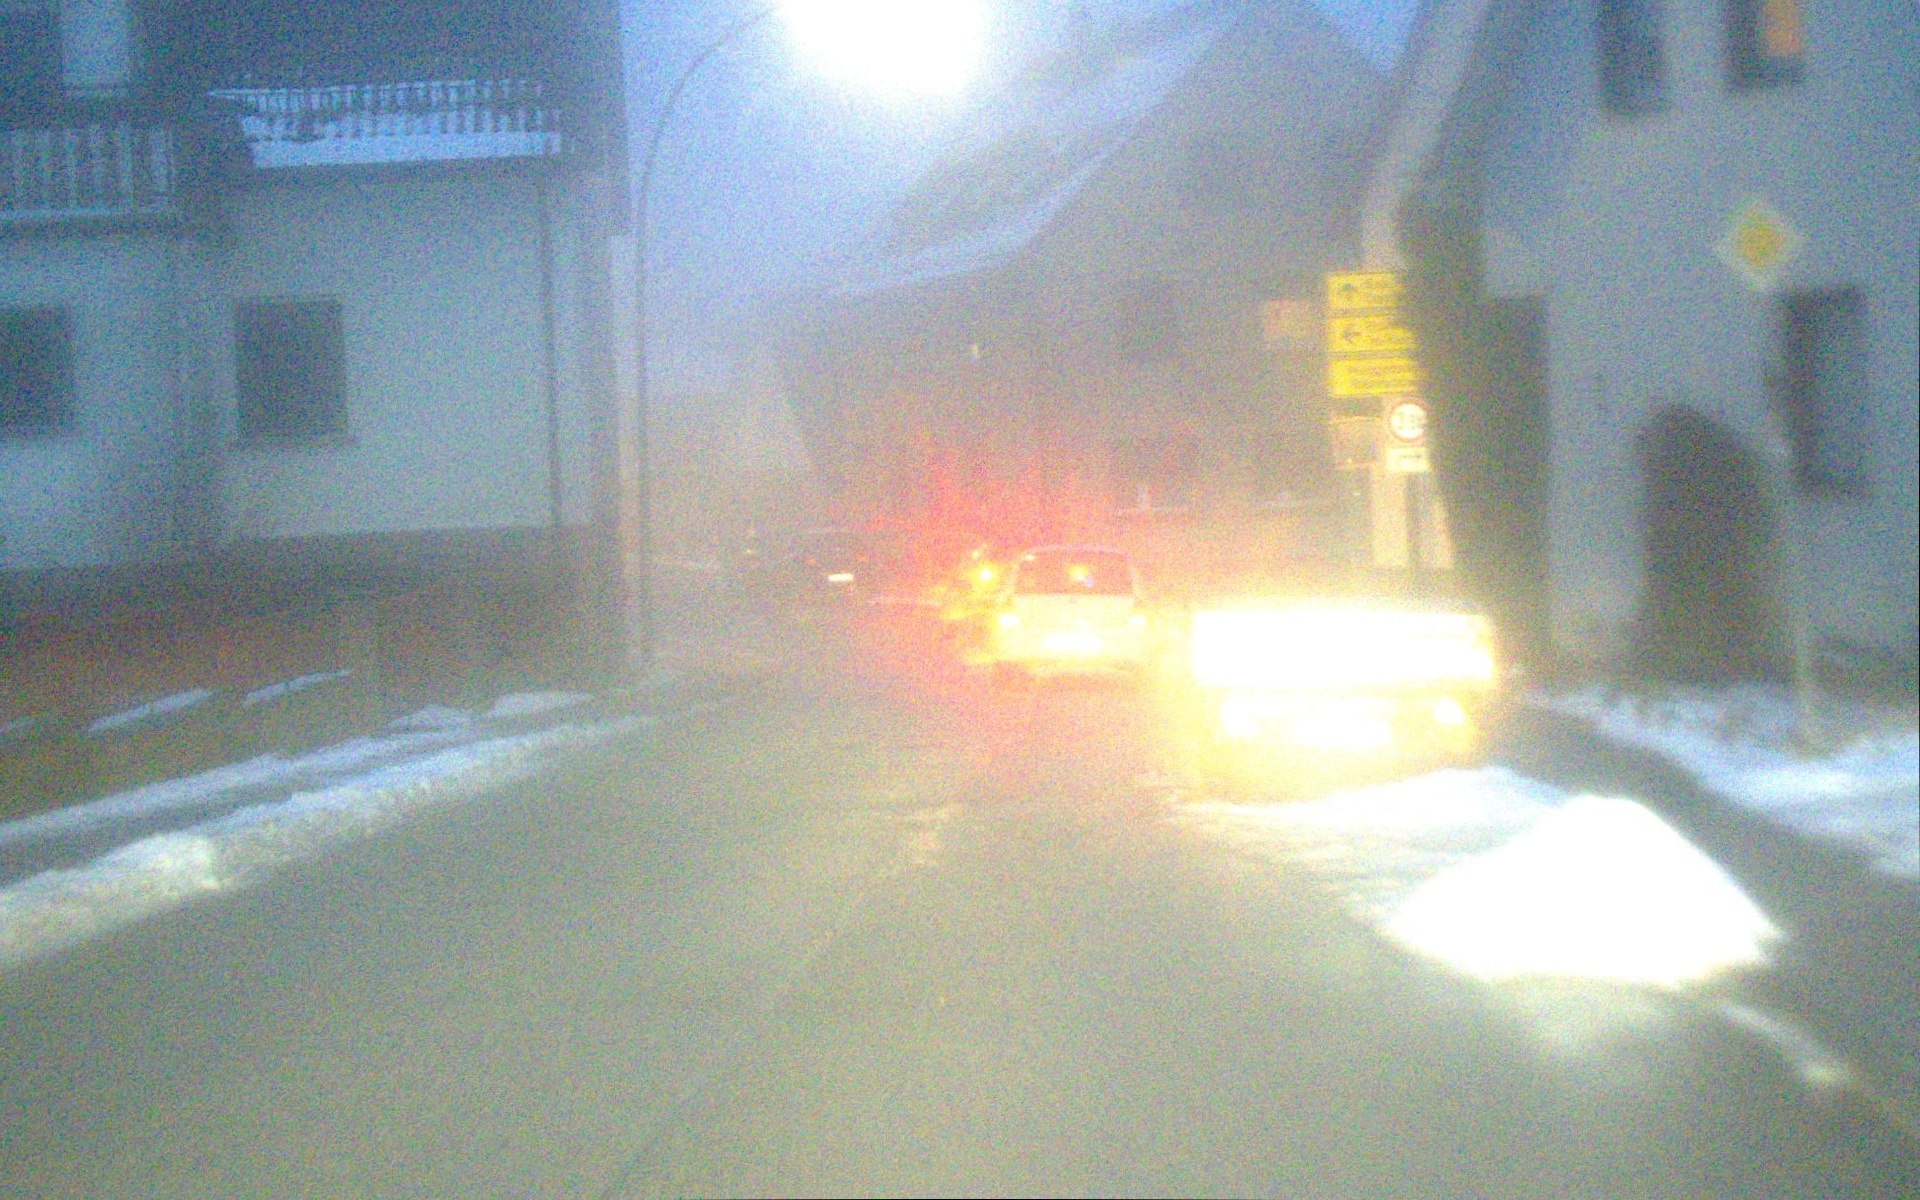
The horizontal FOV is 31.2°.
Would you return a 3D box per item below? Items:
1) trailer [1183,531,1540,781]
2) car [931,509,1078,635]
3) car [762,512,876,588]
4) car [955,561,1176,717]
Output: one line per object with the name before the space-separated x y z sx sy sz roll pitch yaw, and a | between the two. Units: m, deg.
trailer | 2.569 0.264 21.713 1.994 1.383 4.730 0 1 8
car | 0.603 -0.380 48.833 1.993 1.722 4.000 0 0 0
car | -2.986 -1.074 72.056 1.910 1.476 4.283 -2 2 -8
car | 1.139 0.376 35.148 1.994 1.503 3.999 0 0 6
